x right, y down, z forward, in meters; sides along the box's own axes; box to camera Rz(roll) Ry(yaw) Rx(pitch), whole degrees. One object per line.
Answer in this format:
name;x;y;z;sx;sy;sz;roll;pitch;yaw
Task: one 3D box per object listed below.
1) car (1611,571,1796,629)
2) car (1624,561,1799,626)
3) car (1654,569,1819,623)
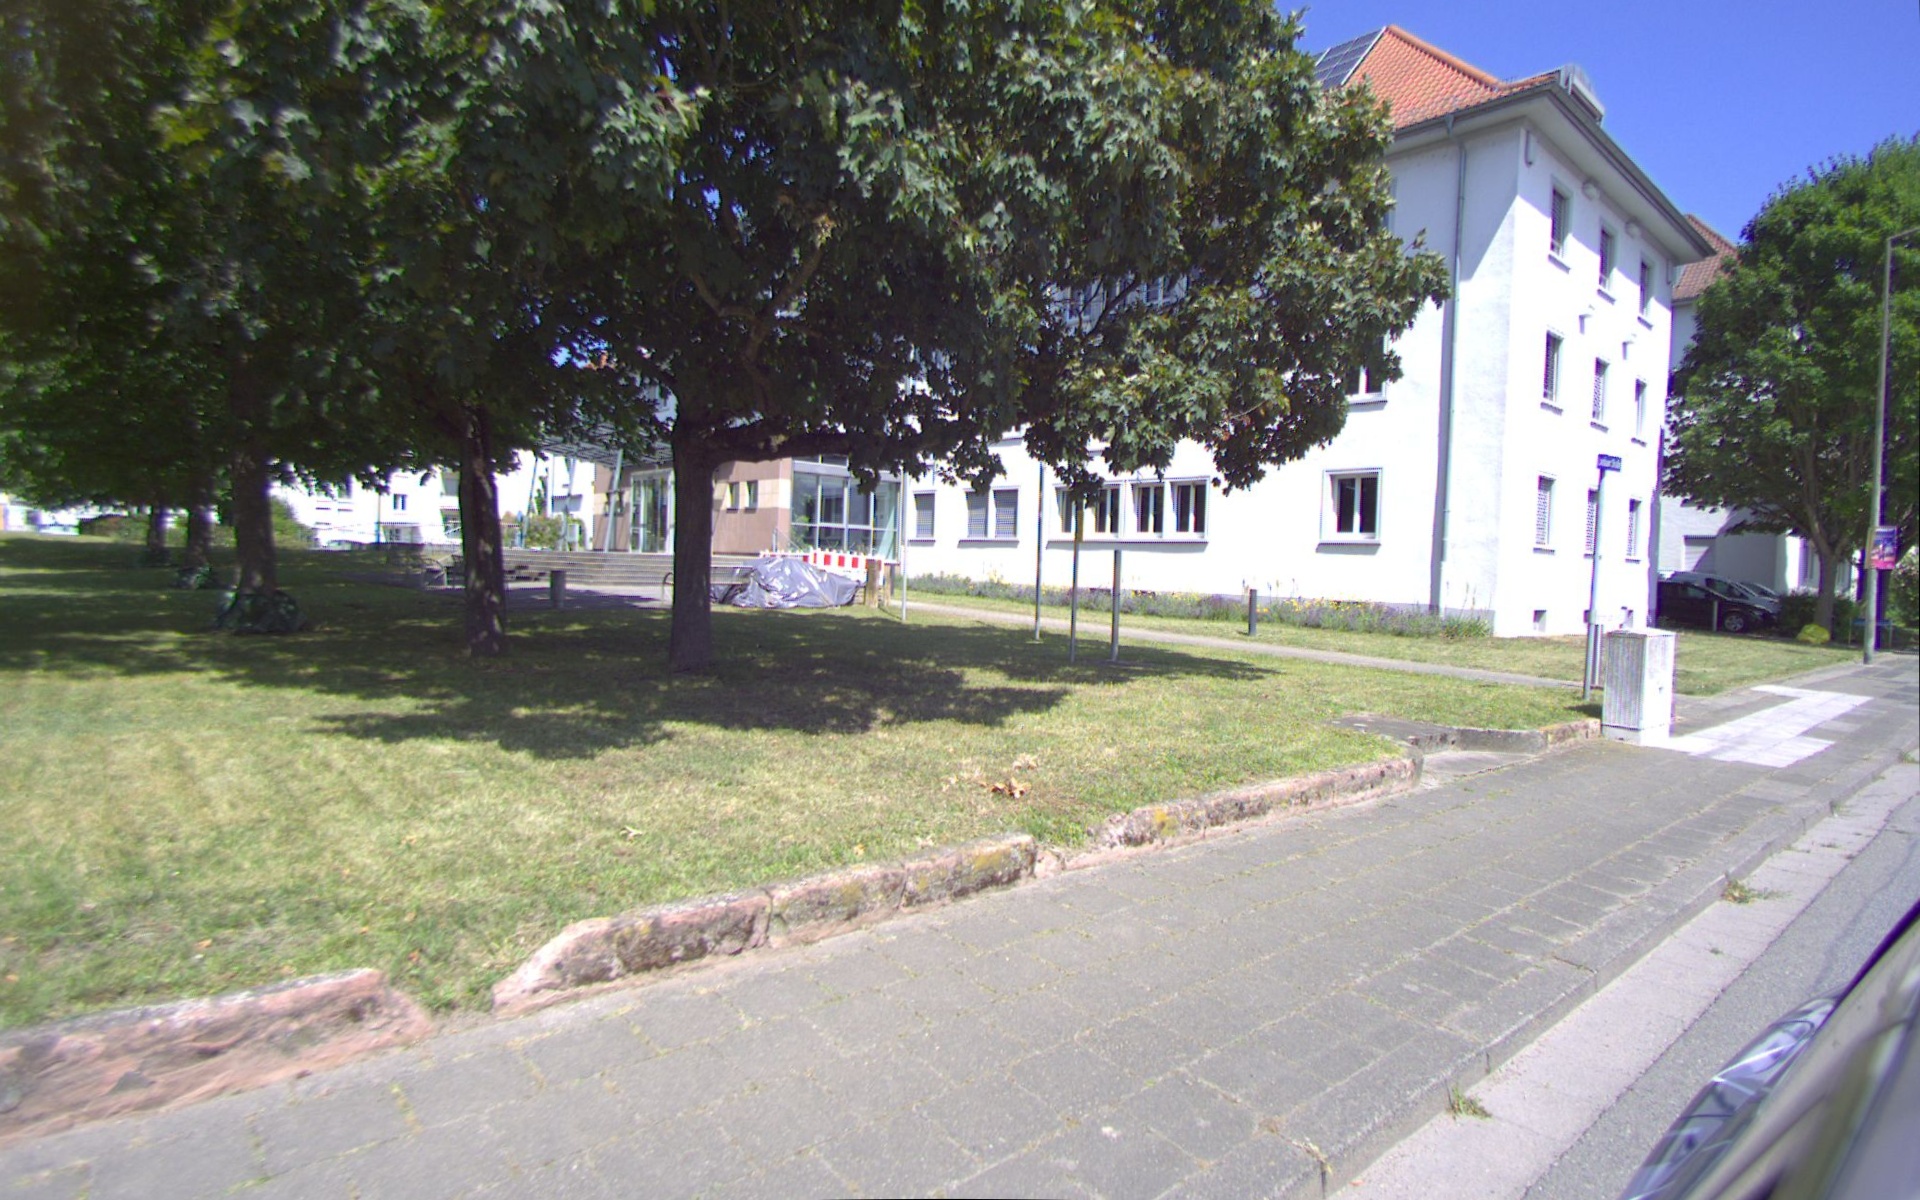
car;23.400;-0.056;31.956;1.967;1.452;4.362;0;5;-43
car;25.183;-0.263;34.009;1.967;1.808;4.362;0;4;-43
car;27.716;-0.184;36.201;1.967;1.544;4.362;0;5;-43
